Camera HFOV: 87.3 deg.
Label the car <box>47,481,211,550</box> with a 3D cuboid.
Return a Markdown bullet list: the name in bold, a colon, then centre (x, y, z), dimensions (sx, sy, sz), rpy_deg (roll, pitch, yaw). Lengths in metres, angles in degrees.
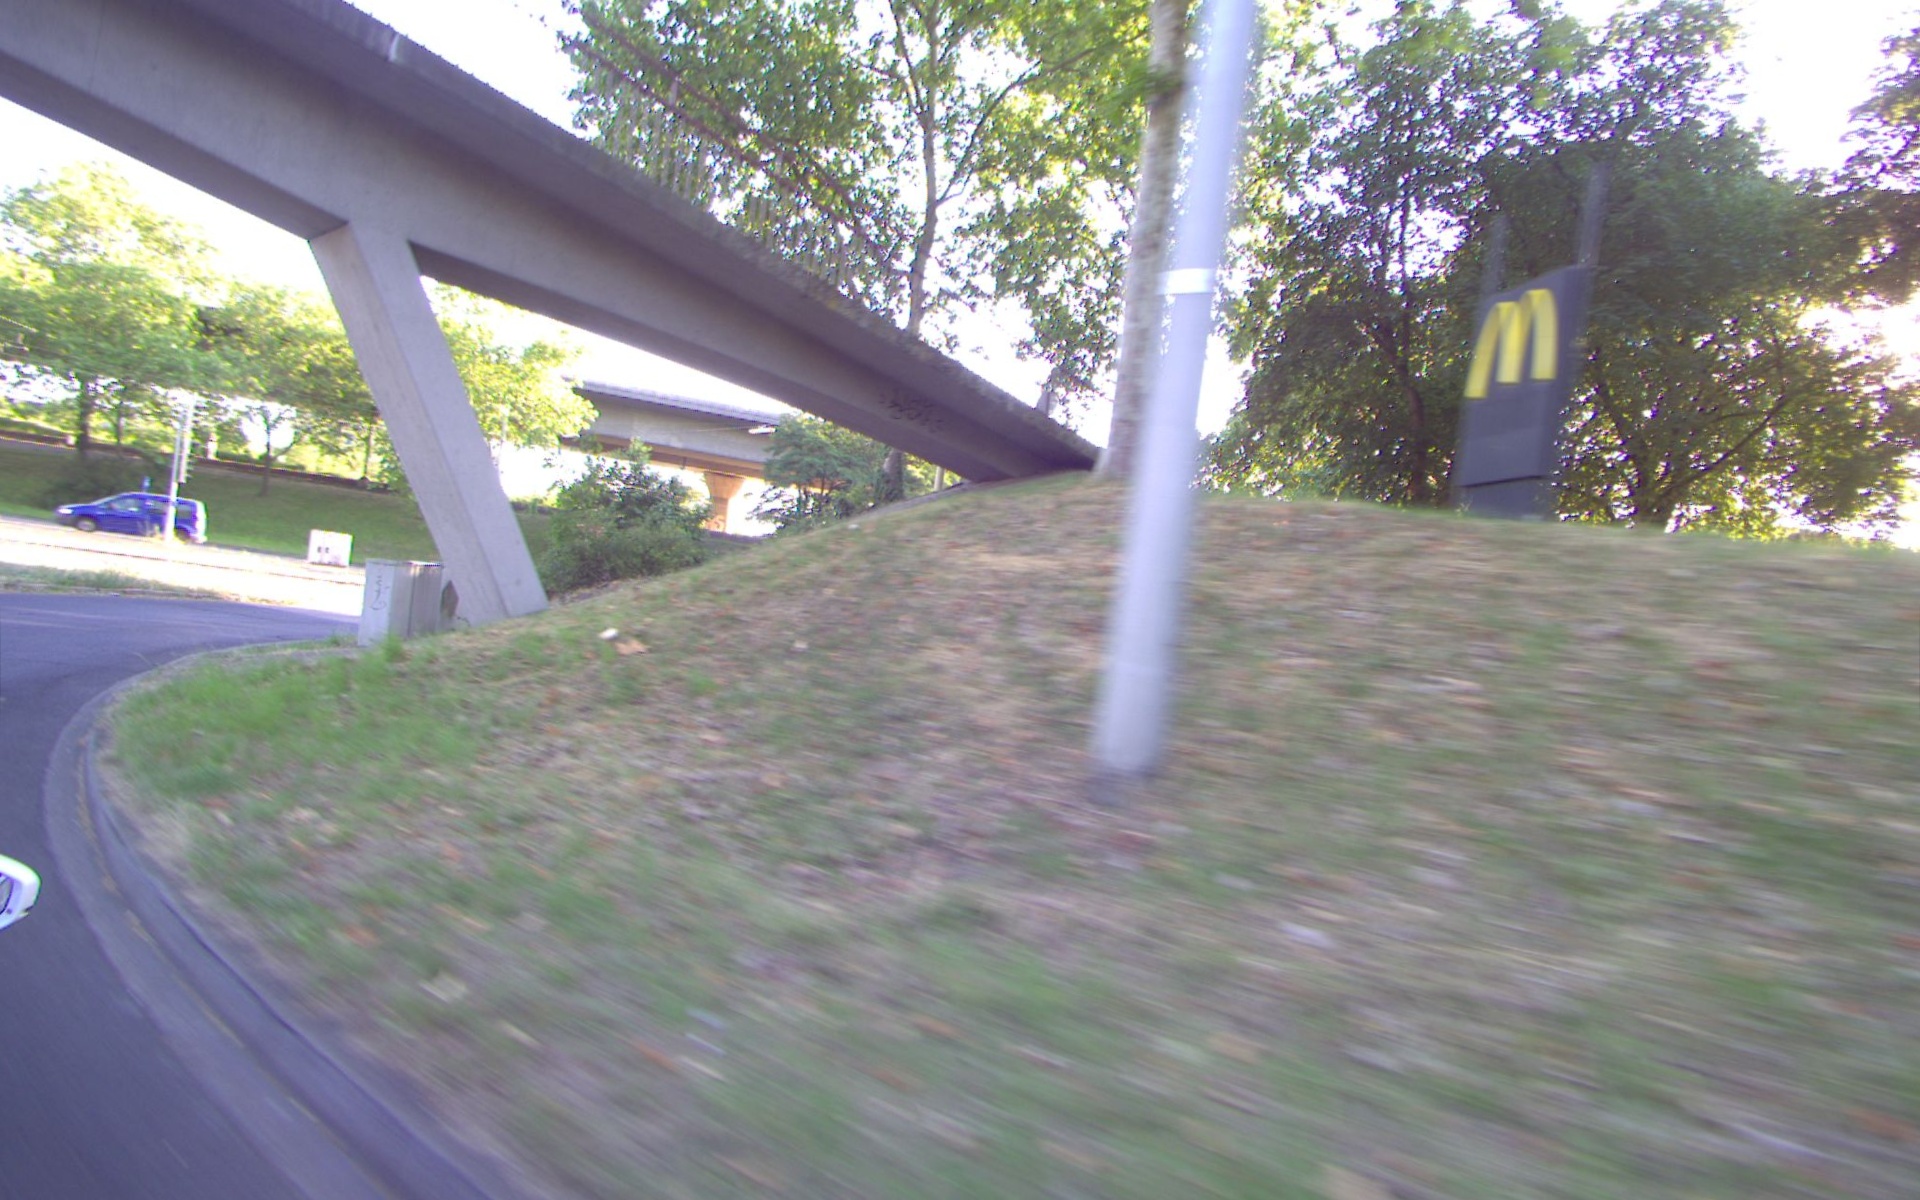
- **car**: centre (-31.171, -3.156, 37.828), dimensions (4.494, 1.712, 1.975), rpy_deg (10, -2, -44)
